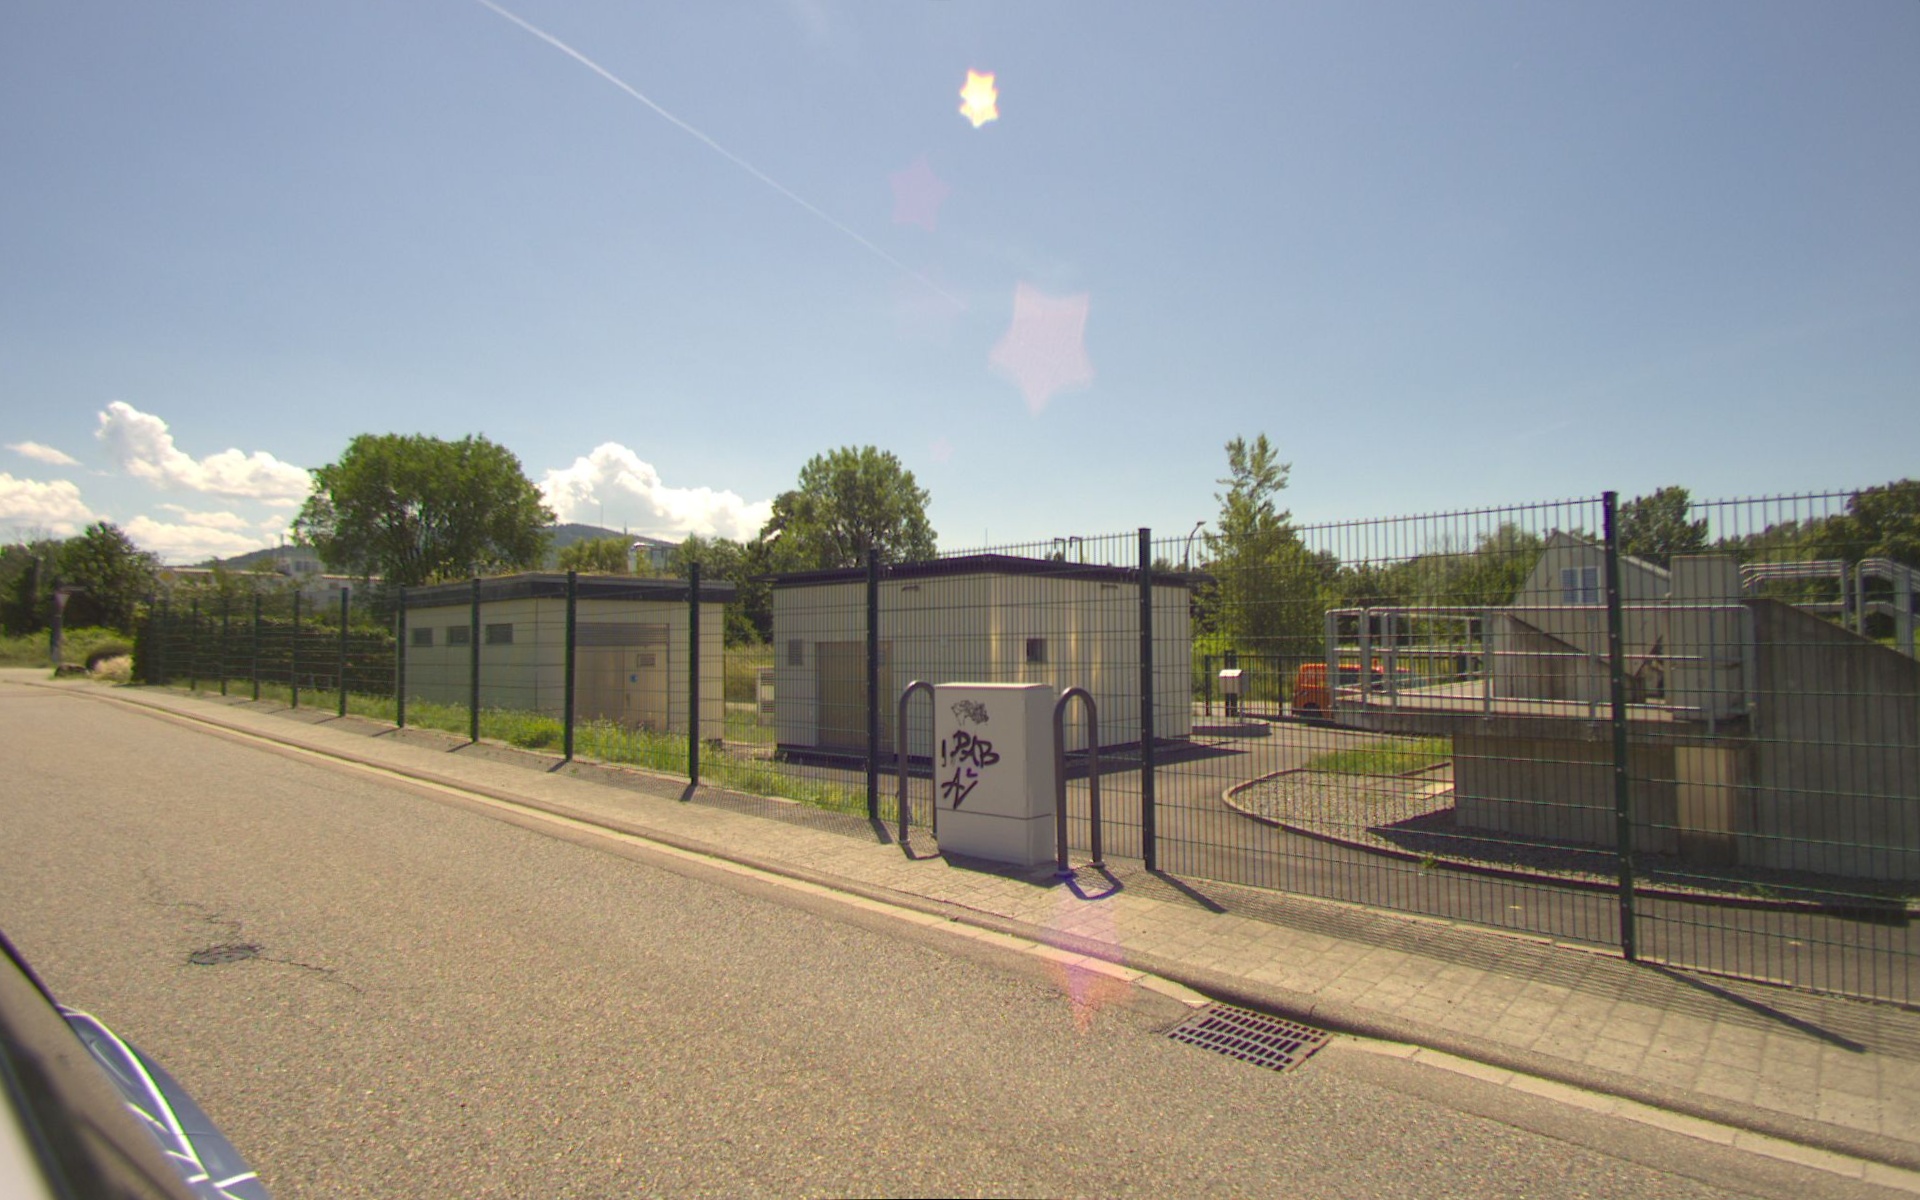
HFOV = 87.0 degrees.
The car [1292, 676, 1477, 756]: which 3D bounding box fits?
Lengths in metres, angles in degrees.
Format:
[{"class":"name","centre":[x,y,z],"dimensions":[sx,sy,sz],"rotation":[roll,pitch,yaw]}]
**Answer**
[{"class":"car","centre":[12.455,3.373,30.028],"dimensions":[1.966,2.029,4.877],"rotation":[5,-5,-30]}]
